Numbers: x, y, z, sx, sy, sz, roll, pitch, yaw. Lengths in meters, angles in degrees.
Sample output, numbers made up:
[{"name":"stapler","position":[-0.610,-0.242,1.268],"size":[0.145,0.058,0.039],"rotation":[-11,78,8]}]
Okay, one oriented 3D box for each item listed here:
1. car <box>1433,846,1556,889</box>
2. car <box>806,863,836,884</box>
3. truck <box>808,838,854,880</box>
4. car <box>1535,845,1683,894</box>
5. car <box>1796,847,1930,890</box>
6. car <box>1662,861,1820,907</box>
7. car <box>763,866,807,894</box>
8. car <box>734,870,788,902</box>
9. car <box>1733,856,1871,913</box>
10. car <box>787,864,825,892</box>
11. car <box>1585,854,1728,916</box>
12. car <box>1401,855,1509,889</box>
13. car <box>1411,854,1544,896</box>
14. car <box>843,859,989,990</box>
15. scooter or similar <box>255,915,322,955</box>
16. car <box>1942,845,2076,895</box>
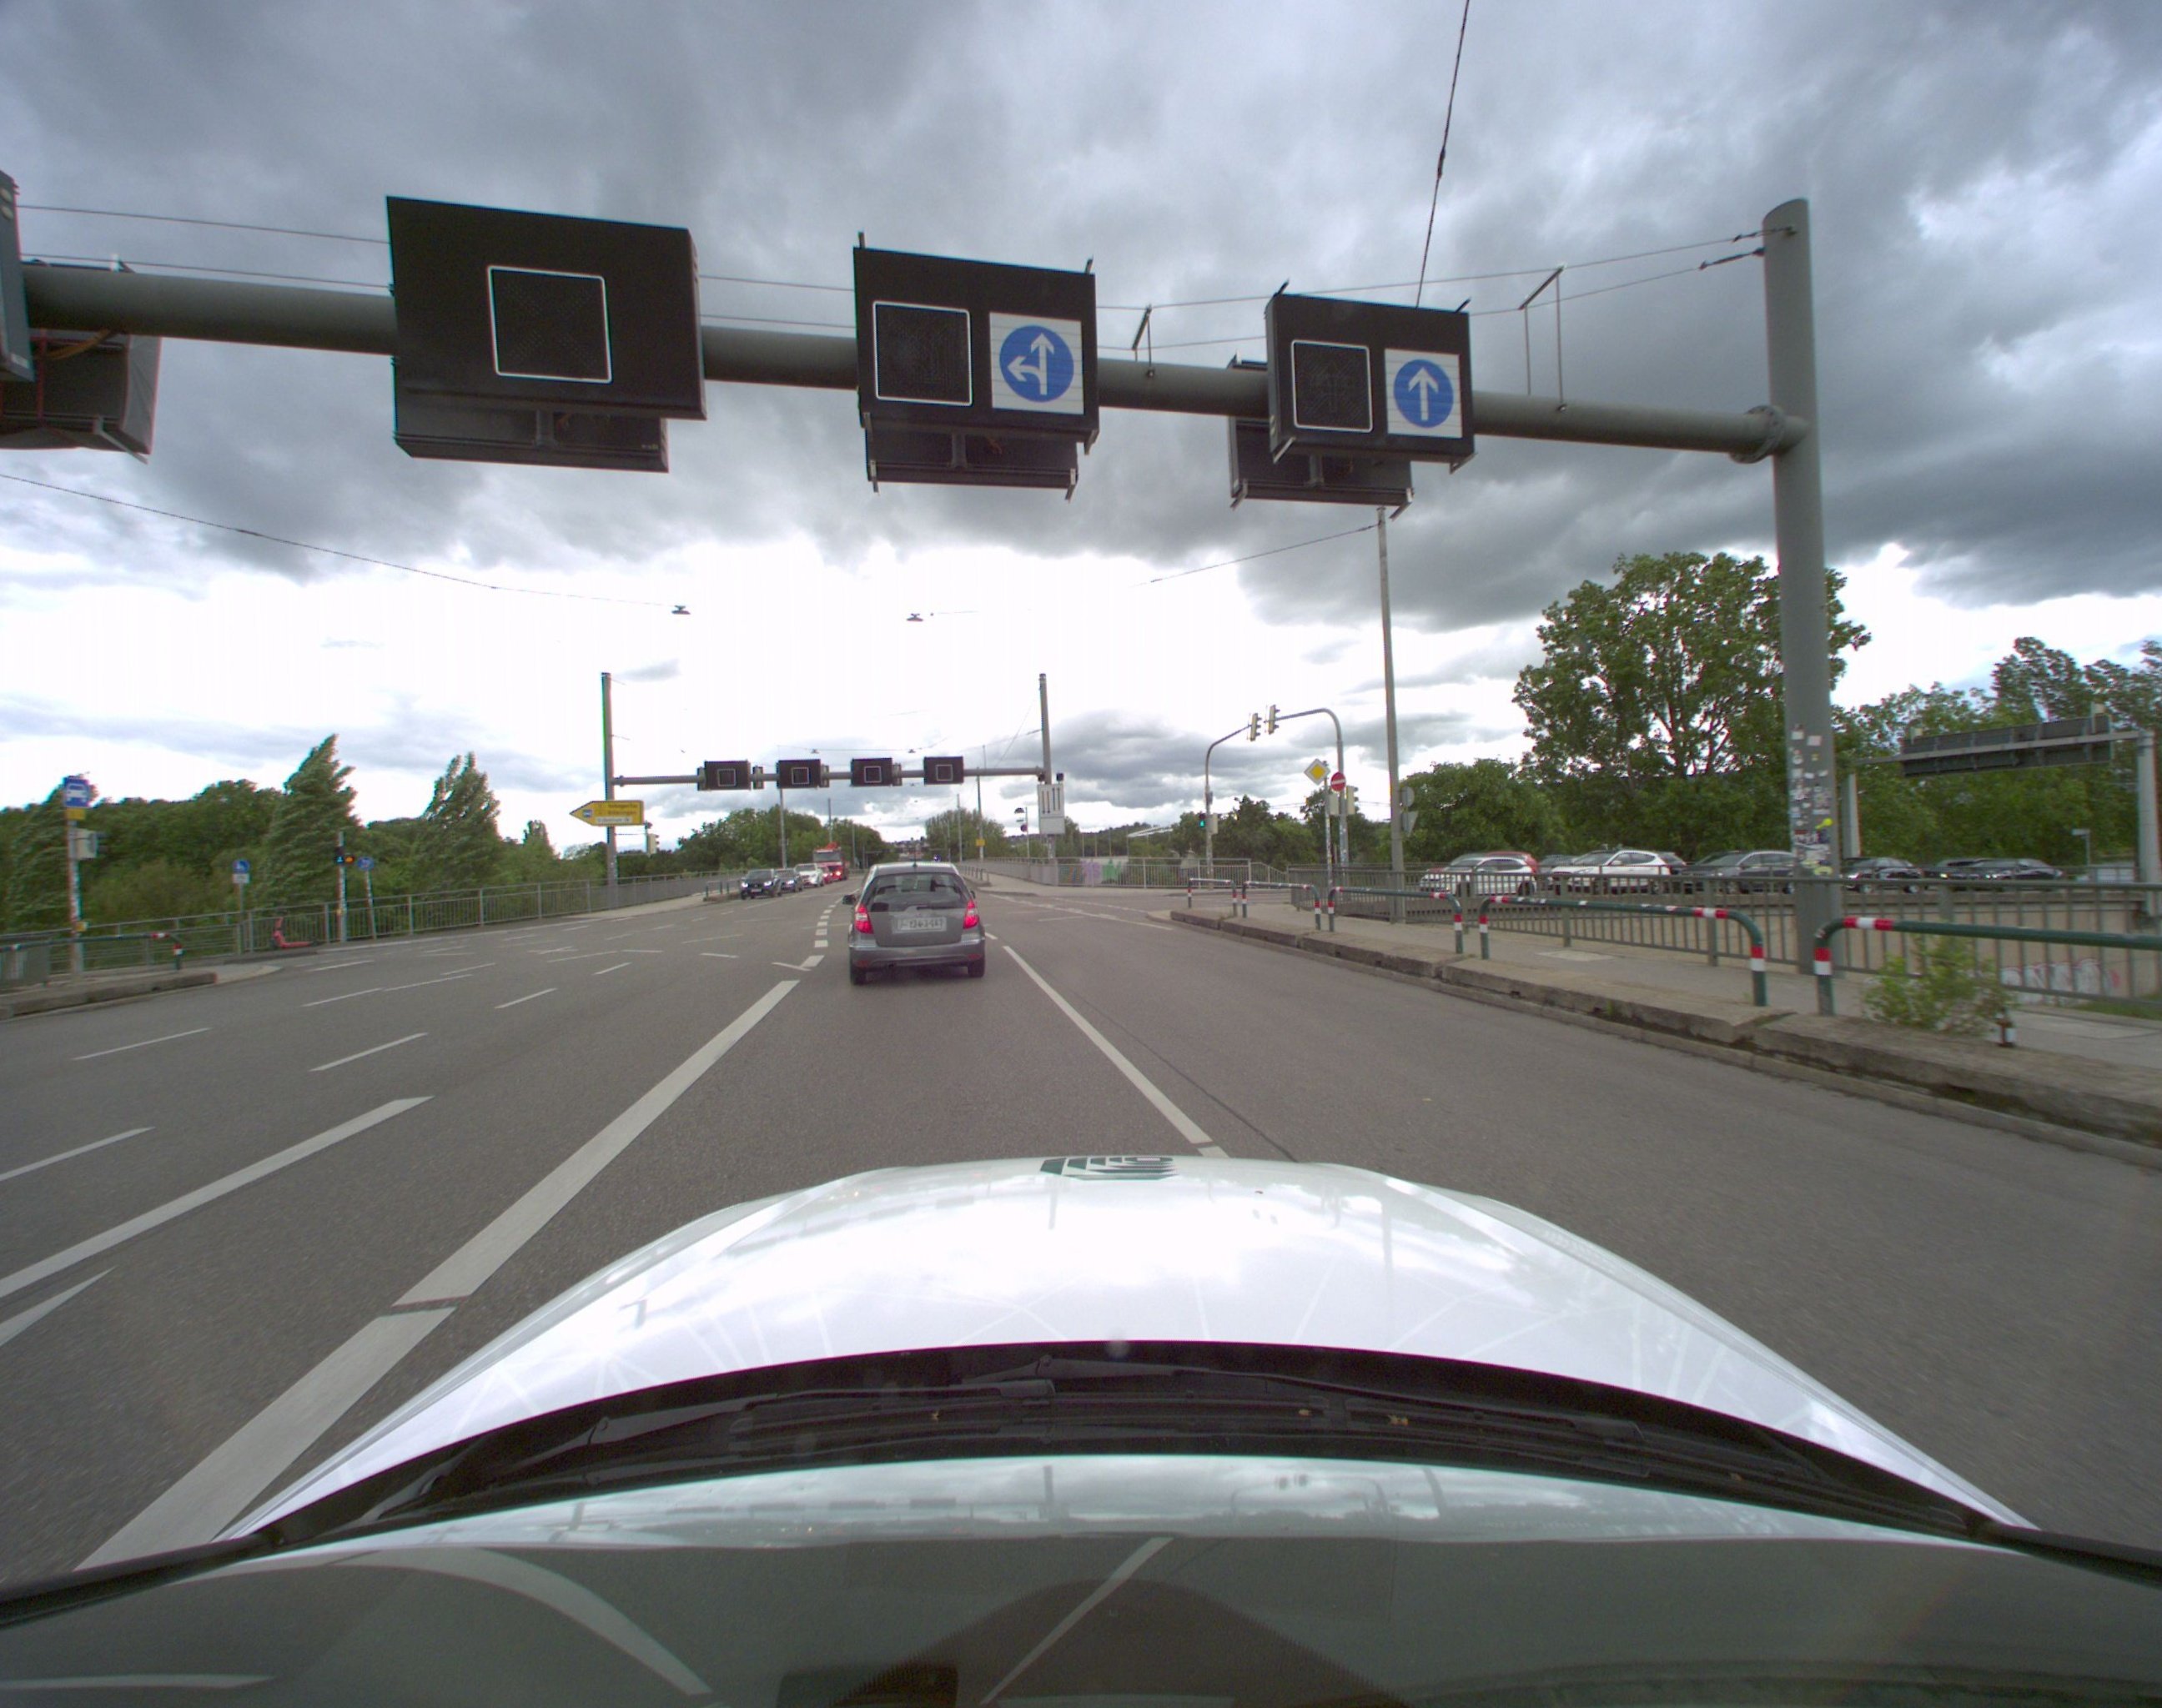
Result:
[{"name":"car","position":[15.583,0.501,30.725],"size":[4.000,1.540,1.687],"rotation":[0,-2,-14]},{"name":"car","position":[-21.401,1.568,67.188],"size":[1.881,1.602,3.999],"rotation":[-4,0,-12]},{"name":"truck","position":[-23.499,0.481,77.082],"size":[3.008,3.565,9.941],"rotation":[-4,0,-12]},{"name":"car","position":[18.879,0.555,29.185],"size":[4.332,1.619,1.991],"rotation":[0,-2,-13]},{"name":"car","position":[31.269,0.573,32.597],"size":[3.991,1.618,1.991],"rotation":[0,-2,-13]},{"name":"car","position":[24.810,1.117,30.673],"size":[4.951,1.619,1.991],"rotation":[0,-2,-13]},{"name":"car","position":[-18.176,1.583,50.240],"size":[1.837,1.504,4.498],"rotation":[-4,0,-12]},{"name":"car","position":[-17.007,1.662,43.500],"size":[1.836,1.504,3.858],"rotation":[-4,0,-10]},{"name":"car","position":[31.208,1.275,35.315],"size":[4.536,2.013,2.203],"rotation":[-5,1,-13]},{"name":"car","position":[-19.570,1.677,58.171],"size":[1.881,1.761,4.783],"rotation":[-4,0,-12]},{"name":"car","position":[23.229,1.190,32.940],"size":[4.536,2.013,2.203],"rotation":[-5,1,-13]},{"name":"car","position":[16.218,0.786,35.375],"size":[4.146,1.421,1.687],"rotation":[0,-2,-15]},{"name":"car","position":[13.336,0.693,27.442],"size":[3.758,1.313,1.782],"rotation":[0,-2,-14]},{"name":"car","position":[-2.438,0.881,12.046],"size":[1.747,1.550,3.855],"rotation":[-2,0,-12]},{"name":"scooter or similar","position":[-24.620,2.512,25.306],"size":[1.336,1.056,0.482],"rotation":[-5,1,-20]},{"name":"car","position":[38.678,0.631,33.968],"size":[3.992,1.617,1.991],"rotation":[-6,1,-13]}]
